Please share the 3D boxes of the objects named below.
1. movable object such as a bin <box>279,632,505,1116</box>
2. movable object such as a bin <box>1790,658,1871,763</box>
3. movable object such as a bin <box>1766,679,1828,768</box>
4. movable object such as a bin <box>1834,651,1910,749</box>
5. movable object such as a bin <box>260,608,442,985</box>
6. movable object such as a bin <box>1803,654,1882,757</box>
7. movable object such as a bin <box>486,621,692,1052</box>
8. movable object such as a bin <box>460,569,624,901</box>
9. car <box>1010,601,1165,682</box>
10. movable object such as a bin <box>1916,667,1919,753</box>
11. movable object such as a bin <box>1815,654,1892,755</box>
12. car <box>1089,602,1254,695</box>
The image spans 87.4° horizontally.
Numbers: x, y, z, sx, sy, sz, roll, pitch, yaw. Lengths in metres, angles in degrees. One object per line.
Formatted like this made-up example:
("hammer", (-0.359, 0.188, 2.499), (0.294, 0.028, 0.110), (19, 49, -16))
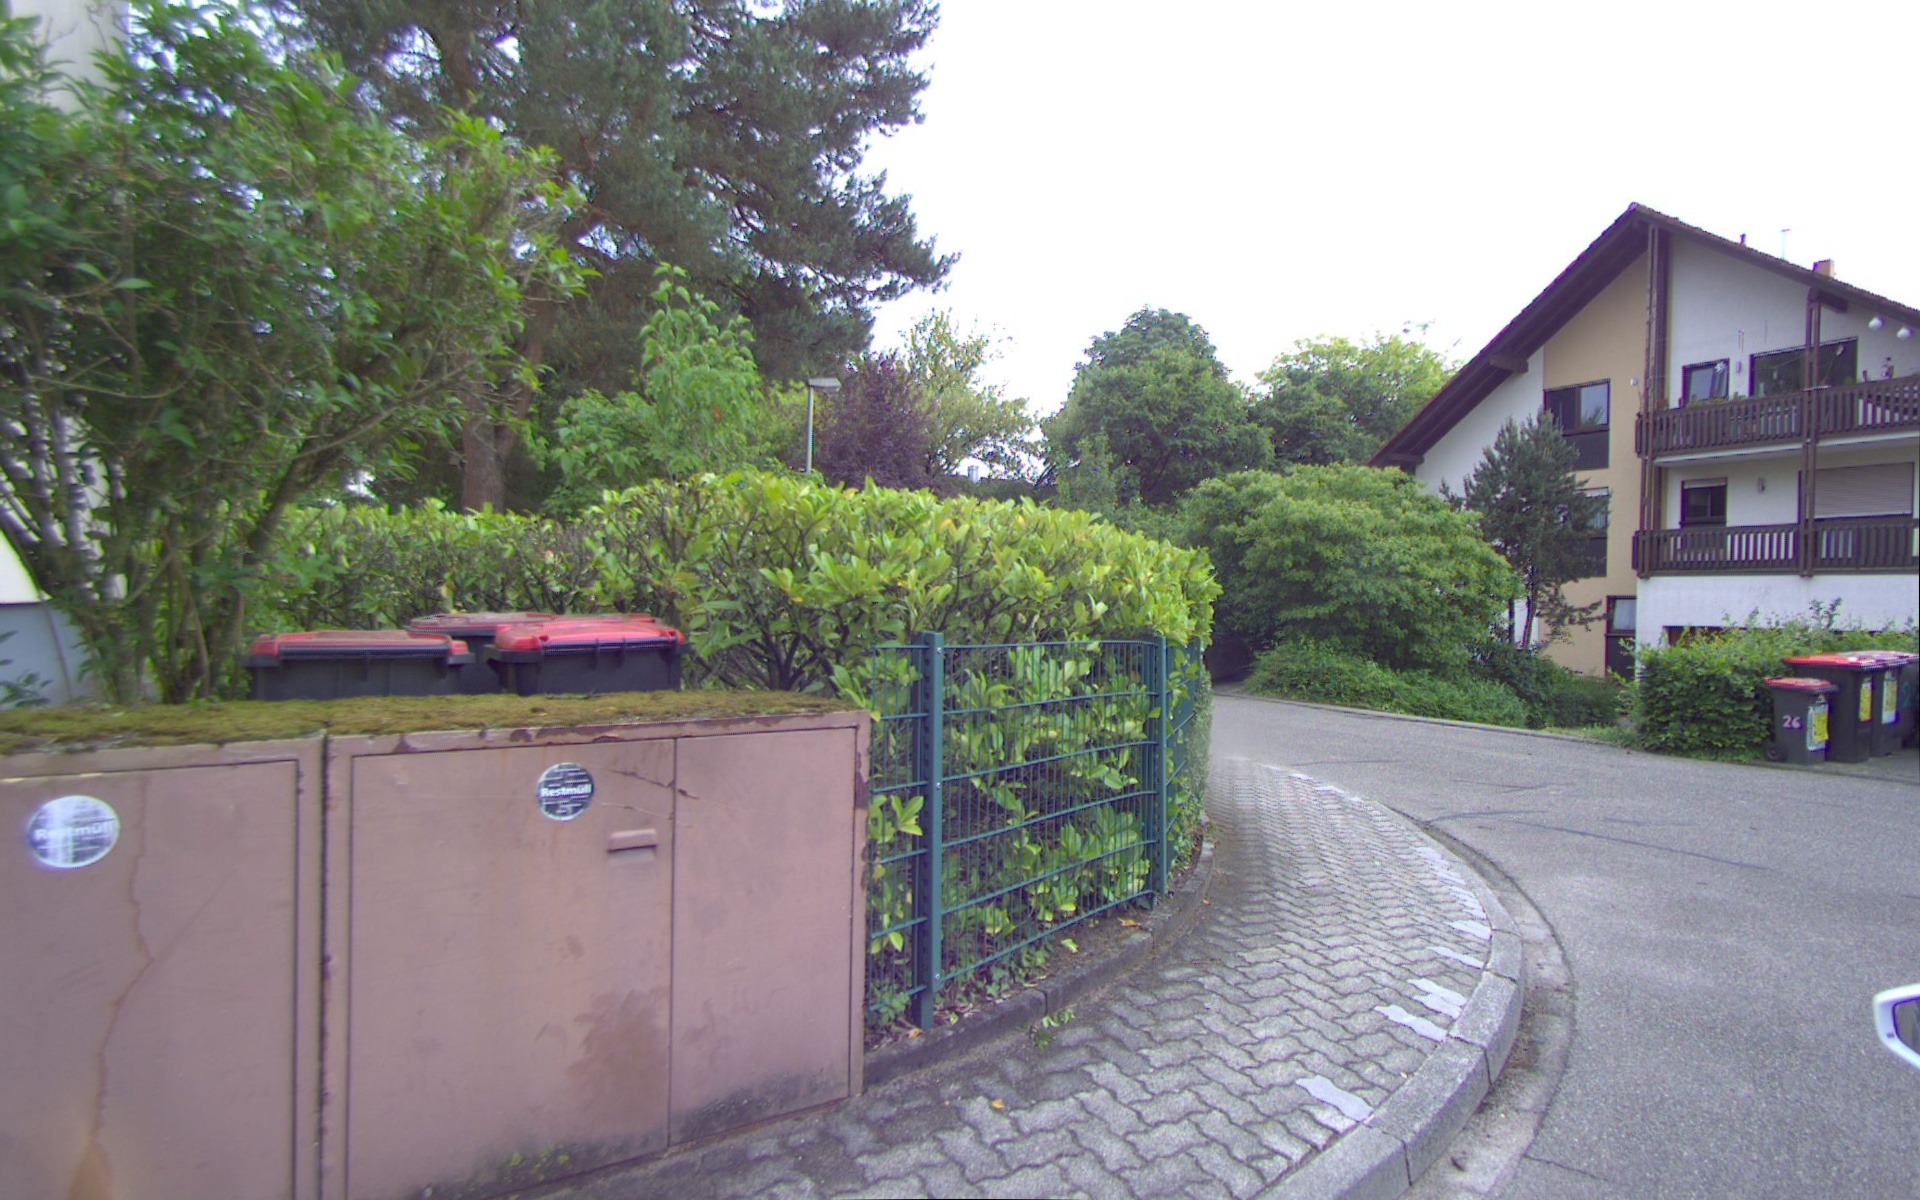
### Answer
("movable object such as a bin", (-1.619, 0.696, 2.870), (0.510, 1.203, 0.502), (1, -1, -33))
("movable object such as a bin", (9.010, 1.129, 10.404), (0.375, 1.007, 0.534), (0, 1, -34))
("movable object such as a bin", (8.583, 1.256, 10.305), (0.375, 0.848, 0.383), (0, 1, -34))
("movable object such as a bin", (10.049, 1.092, 11.078), (0.334, 1.007, 0.534), (0, 1, -34))
("movable object such as a bin", (-2.157, 0.636, 3.573), (0.510, 1.203, 0.502), (1, -1, -33))
("movable object such as a bin", (9.317, 1.099, 10.608), (0.334, 1.007, 0.534), (0, 1, -34))
("movable object such as a bin", (-1.176, 0.669, 3.166), (0.510, 1.203, 0.502), (1, -1, -33))
("movable object such as a bin", (-1.642, 0.488, 3.930), (0.510, 1.180, 0.502), (1, -1, -33))
("car", (2.784, 0.807, 21.229), (1.672, 1.510, 3.989), (1, 0, 33))
("movable object such as a bin", (10.451, 1.172, 10.629), (0.375, 0.913, 0.383), (0, 1, -34))
("movable object such as a bin", (9.606, 1.111, 10.805), (0.334, 1.007, 0.534), (0, 1, -34))
("car", (4.051, 0.826, 18.768), (1.672, 1.510, 3.989), (1, 0, 33))
